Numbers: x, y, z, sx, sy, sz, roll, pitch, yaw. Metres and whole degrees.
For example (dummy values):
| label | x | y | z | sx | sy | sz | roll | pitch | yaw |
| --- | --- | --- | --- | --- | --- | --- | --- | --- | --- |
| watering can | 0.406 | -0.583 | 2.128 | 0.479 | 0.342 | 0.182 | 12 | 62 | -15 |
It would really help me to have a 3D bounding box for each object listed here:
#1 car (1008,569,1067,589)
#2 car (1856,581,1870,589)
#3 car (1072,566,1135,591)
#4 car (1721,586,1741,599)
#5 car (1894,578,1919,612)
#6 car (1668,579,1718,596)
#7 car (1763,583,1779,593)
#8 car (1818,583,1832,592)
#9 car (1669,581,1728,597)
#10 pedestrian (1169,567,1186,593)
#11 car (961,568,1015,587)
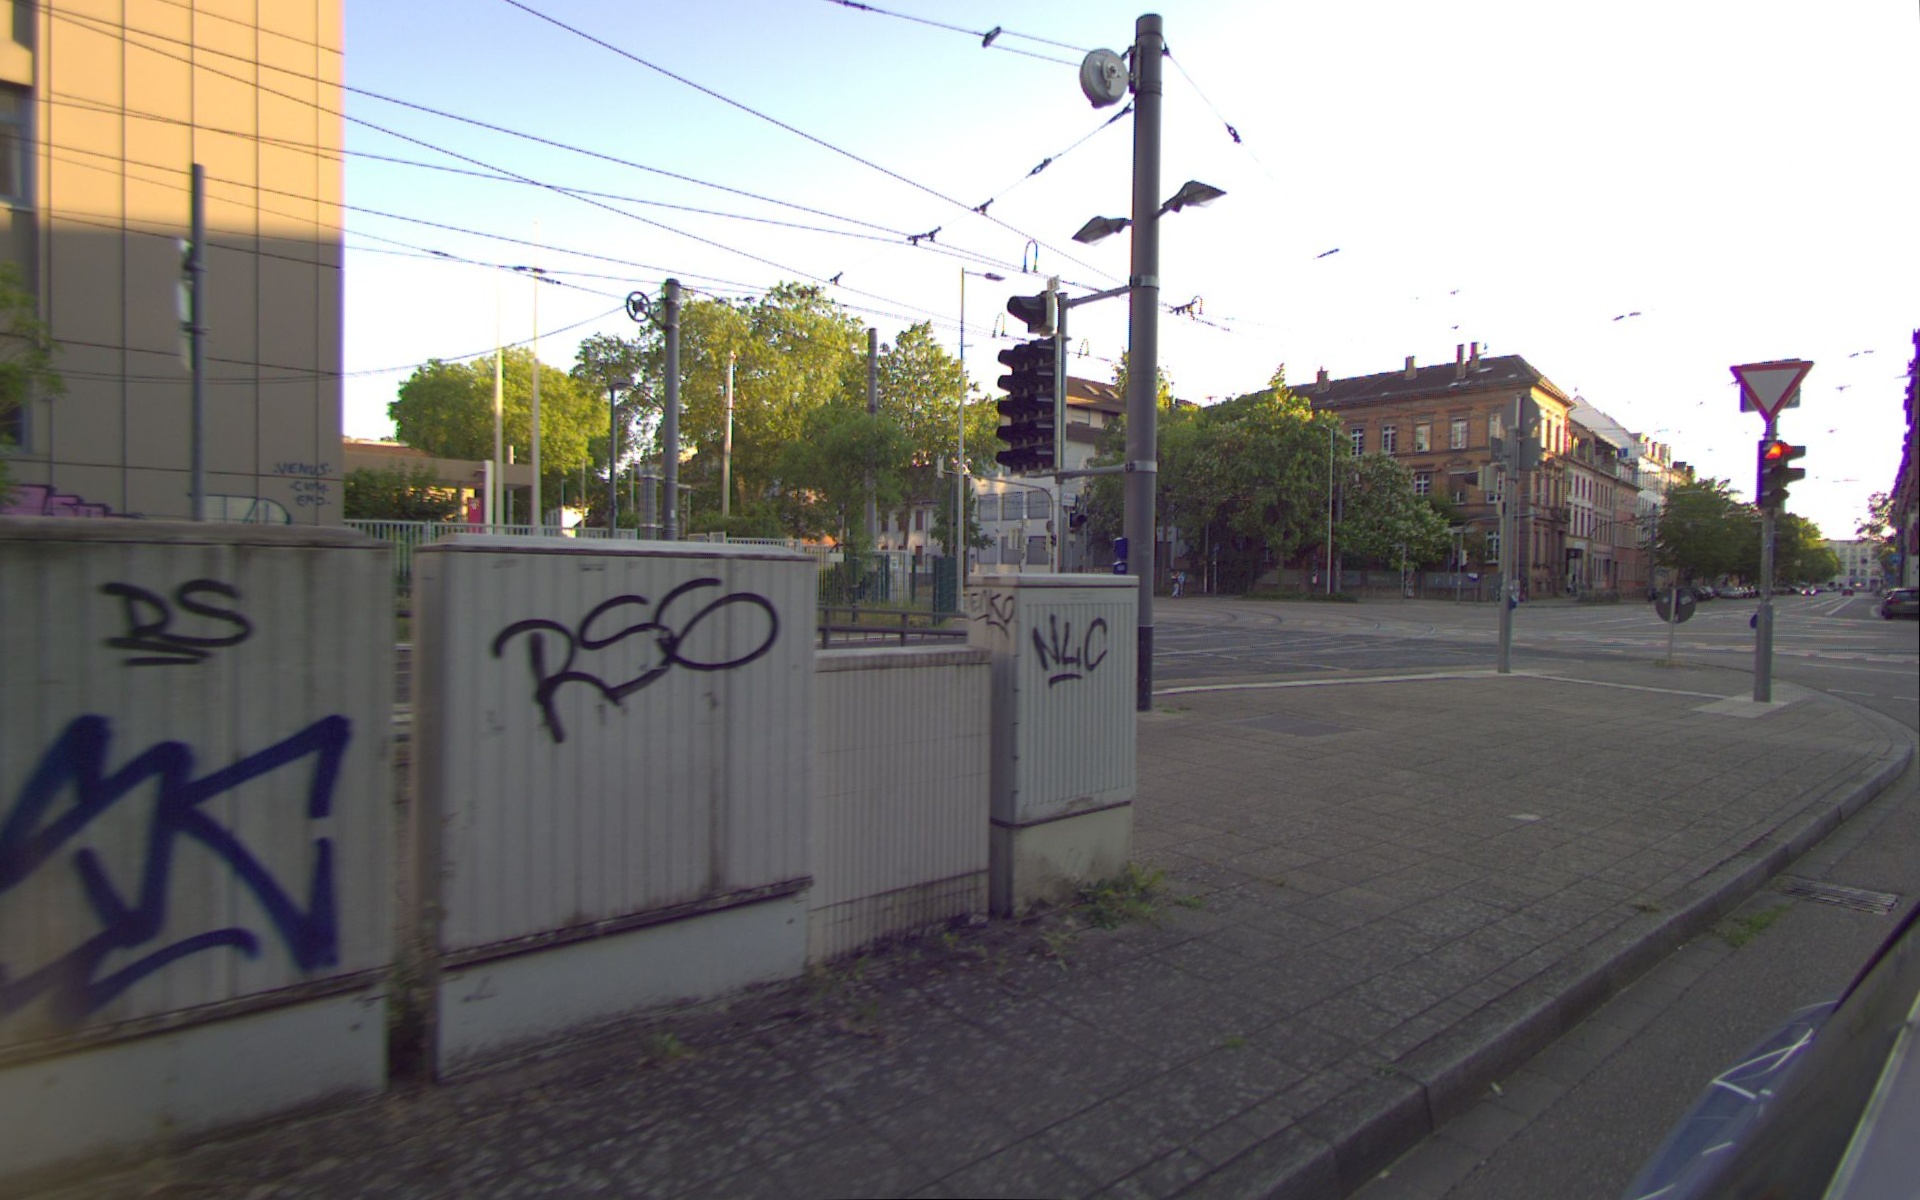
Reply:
| label | x | y | z | sx | sy | sz | roll | pitch | yaw |
| --- | --- | --- | --- | --- | --- | --- | --- | --- | --- |
| car | 5.847 | -1.628 | 76.982 | 1.966 | 1.442 | 4.353 | 0 | 2 | -42 |
| car | 169.978 | -2.793 | 190.444 | 1.779 | 1.475 | 4.234 | 2 | 2 | 40 |
| car | 10.175 | -1.536 | 72.045 | 1.966 | 1.652 | 4.225 | 0 | 2 | -42 |
| car | 91.167 | -0.891 | 119.642 | 1.778 | 1.475 | 4.237 | 2 | 2 | 39 |
| car | 44.673 | -0.234 | 46.749 | 4.227 | 1.475 | 2.003 | -1 | 2 | -45 |
| car | 69.627 | -1.236 | 96.169 | 3.756 | 1.504 | 1.880 | 2 | 2 | 39 |
| car | 122.061 | -1.791 | 152.373 | 1.778 | 1.453 | 4.237 | 2 | 2 | 39 |
| car | 154.492 | -2.255 | 180.708 | 1.780 | 1.475 | 4.232 | 2 | 2 | 42 |
| car | 74.728 | -1.140 | 102.411 | 4.683 | 1.504 | 1.880 | 2 | 2 | 39 |
| pedestrian | 12.901 | -1.202 | 59.994 | 0.802 | 1.545 | 0.580 | 0 | 1 | -36 |
| car | 2.212 | -1.829 | 81.298 | 1.966 | 1.442 | 4.225 | 0 | 2 | -42 |
